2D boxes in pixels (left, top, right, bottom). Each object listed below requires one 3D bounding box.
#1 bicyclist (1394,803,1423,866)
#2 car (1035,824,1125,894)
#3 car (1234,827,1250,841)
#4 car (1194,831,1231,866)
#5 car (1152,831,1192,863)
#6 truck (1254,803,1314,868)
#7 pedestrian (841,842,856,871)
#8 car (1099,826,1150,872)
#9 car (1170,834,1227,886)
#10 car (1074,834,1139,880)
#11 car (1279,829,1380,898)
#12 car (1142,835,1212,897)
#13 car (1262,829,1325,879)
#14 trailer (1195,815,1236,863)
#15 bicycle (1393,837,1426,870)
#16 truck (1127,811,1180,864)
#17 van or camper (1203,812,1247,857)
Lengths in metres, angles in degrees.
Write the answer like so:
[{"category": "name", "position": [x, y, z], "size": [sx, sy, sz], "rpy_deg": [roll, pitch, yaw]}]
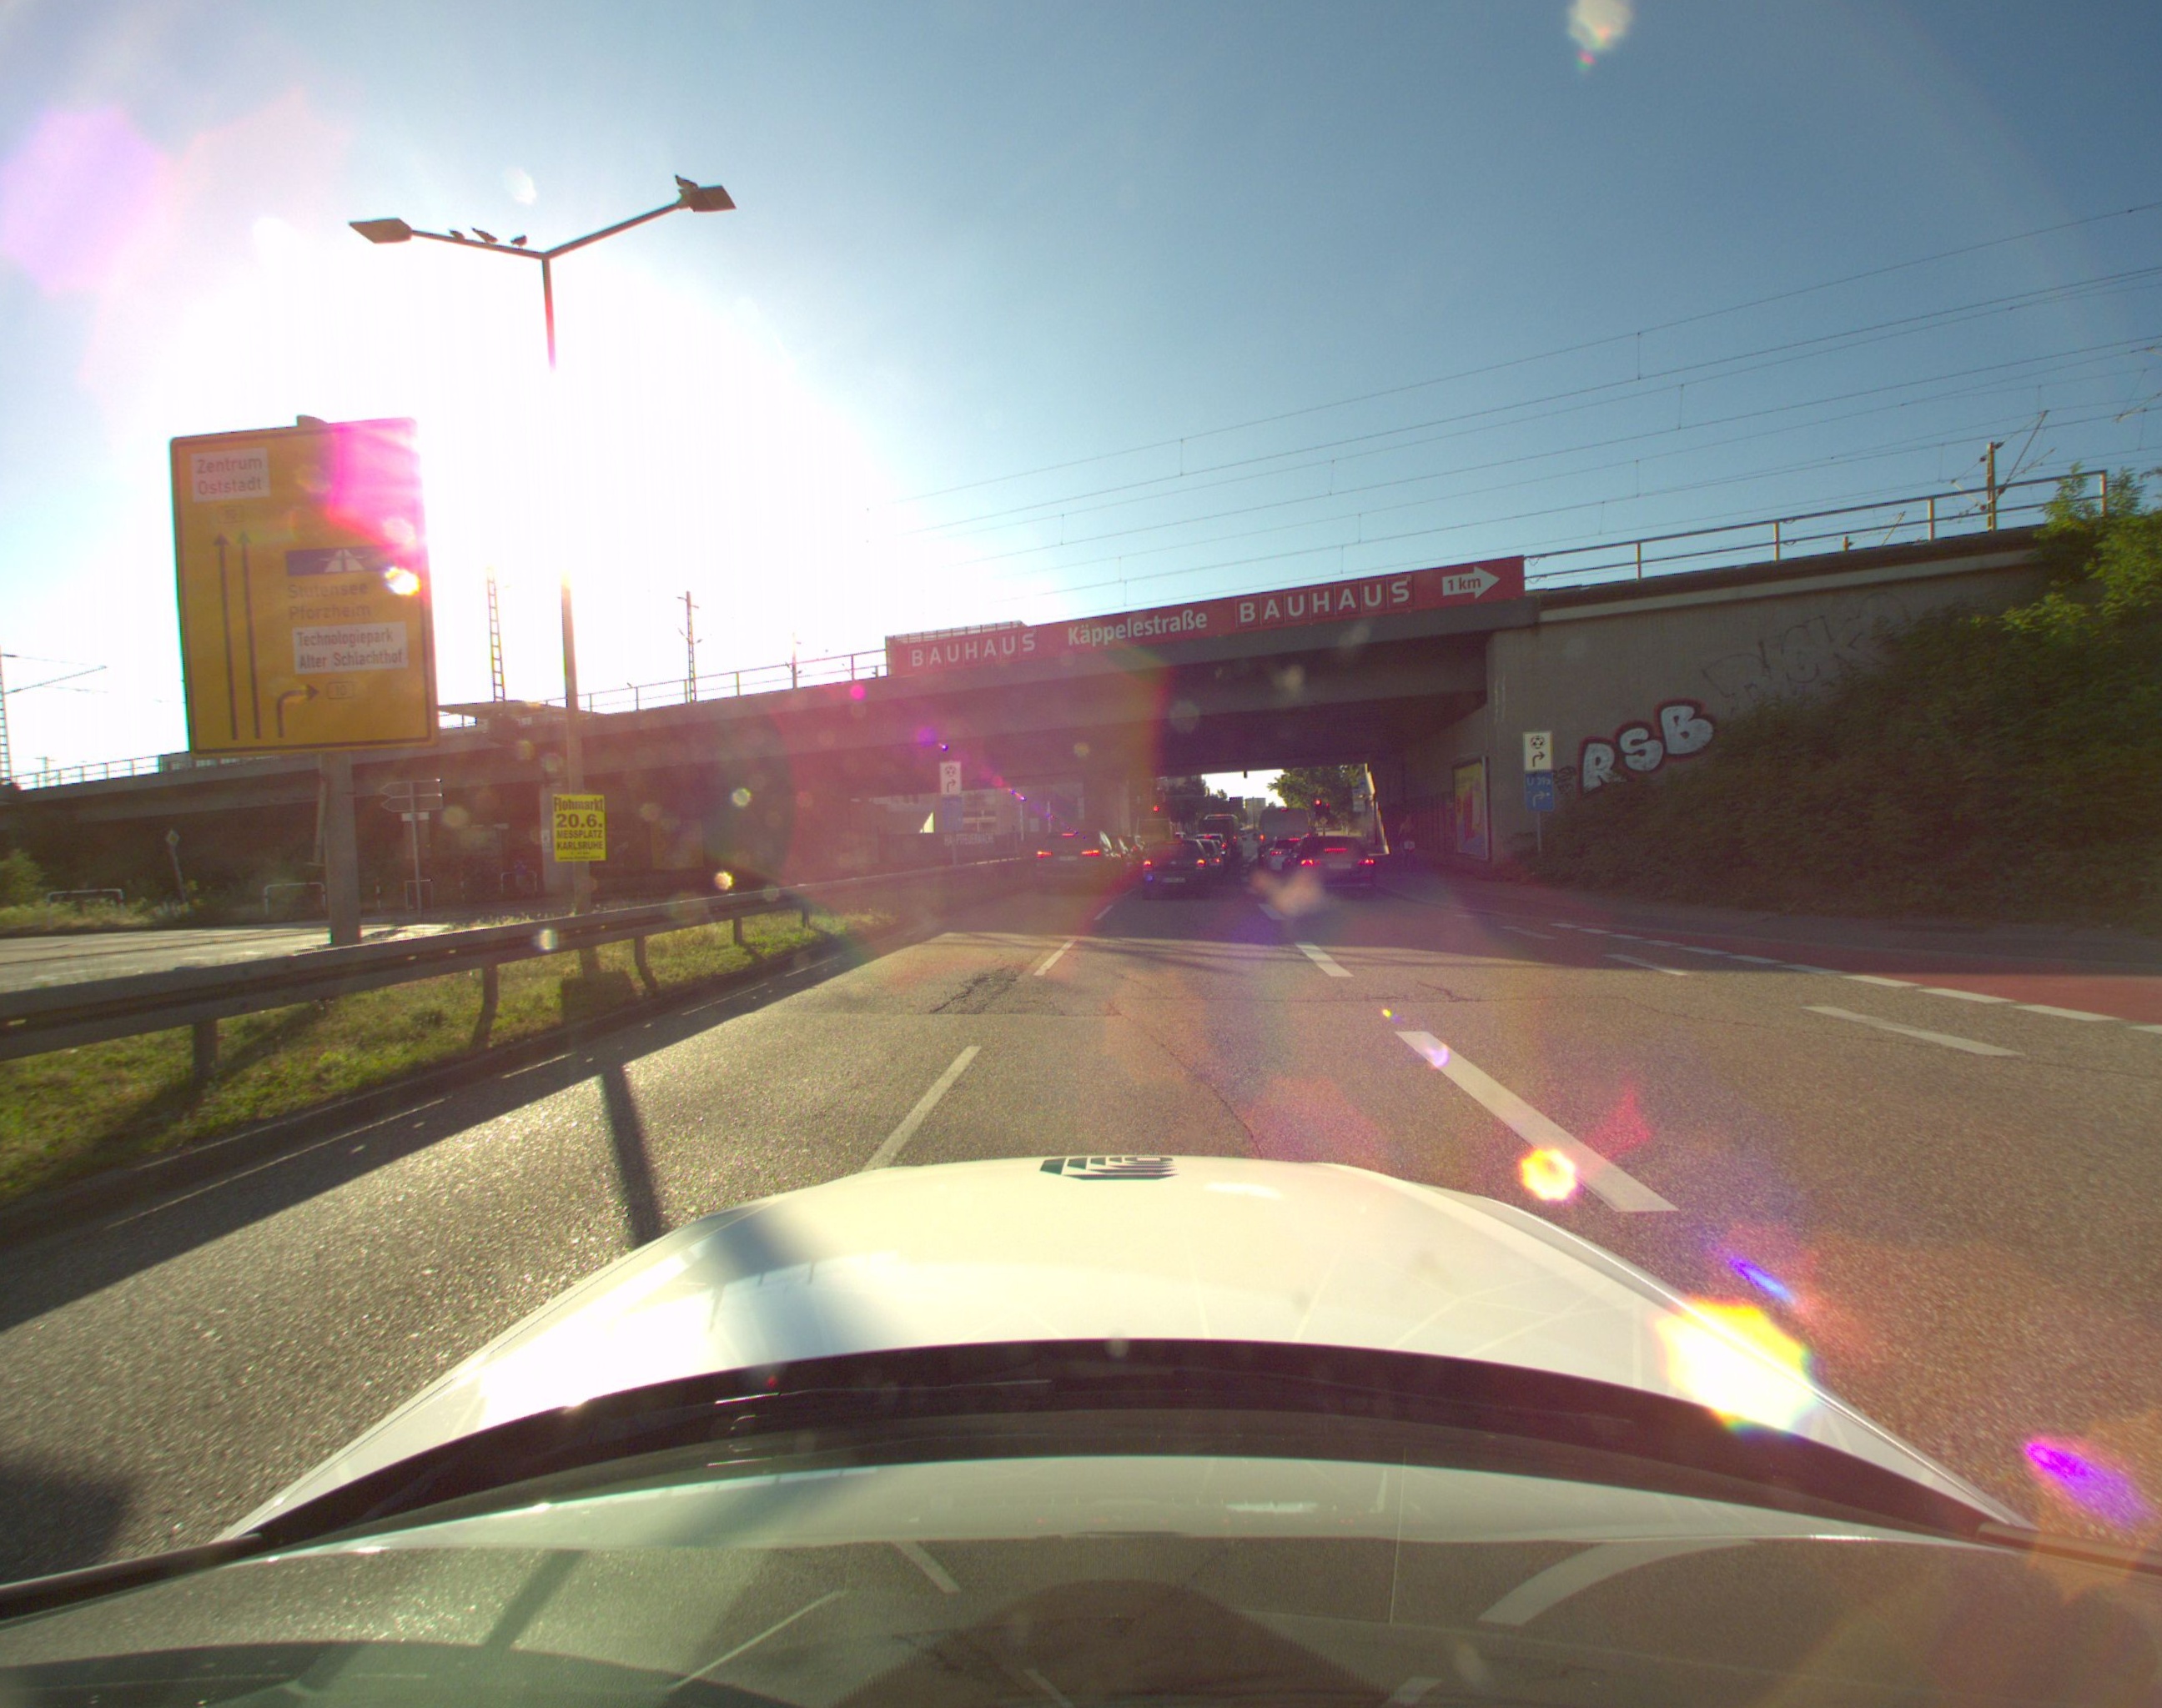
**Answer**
[{"category": "bicyclist", "position": [10.239, -0.609, 25.463], "size": [0.677, 1.907, 0.836], "rpy_deg": [-2, 0, 14]}, {"category": "car", "position": [0.084, 0.110, 23.334], "size": [1.818, 1.738, 4.473], "rpy_deg": [-2, 0, 9]}, {"category": "car", "position": [19.892, -2.442, 100.787], "size": [1.788, 1.604, 4.014], "rpy_deg": [-2, 0, 12]}, {"category": "car", "position": [6.331, -0.272, 38.894], "size": [1.571, 1.532, 3.844], "rpy_deg": [-1, 0, 11]}, {"category": "car", "position": [5.882, -0.437, 52.315], "size": [1.979, 1.901, 4.015], "rpy_deg": [-2, 0, 13]}, {"category": "truck", "position": [8.737, -0.790, 35.428], "size": [2.098, 2.519, 4.414], "rpy_deg": [-3, 0, 10]}, {"category": "pedestrian", "position": [-15.409, 0.170, 54.025], "size": [0.689, 1.903, 0.667], "rpy_deg": [-2, 0, 13]}, {"category": "car", "position": [1.967, -0.212, 35.455], "size": [1.832, 1.719, 4.007], "rpy_deg": [-5, 0, 6]}, {"category": "car", "position": [3.762, 0.142, 25.710], "size": [1.537, 1.423, 3.427], "rpy_deg": [-5, 1, 10]}, {"category": "car", "position": [0.988, 0.077, 29.787], "size": [1.831, 1.440, 3.684], "rpy_deg": [-5, 0, 8]}, {"category": "car", "position": [6.007, 0.139, 20.146], "size": [1.730, 1.454, 4.618], "rpy_deg": [-1, 2, 9]}, {"category": "car", "position": [2.471, 0.276, 20.773], "size": [1.573, 1.408, 3.840], "rpy_deg": [-1, 0, 7]}, {"category": "car", "position": [7.143, -0.011, 27.633], "size": [1.761, 1.495, 3.844], "rpy_deg": [-3, 0, 11]}, {"category": "trailer", "position": [7.418, -0.807, 44.635], "size": [1.851, 2.465, 3.846], "rpy_deg": [-3, 0, 13]}, {"category": "bicycle", "position": [10.270, -0.026, 25.566], "size": [0.574, 0.963, 2.898], "rpy_deg": [-2, 0, 15]}, {"category": "truck", "position": [3.918, -0.830, 43.110], "size": [2.014, 2.556, 5.556], "rpy_deg": [-2, 0, 12]}, {"category": "van or camper", "position": [8.899, -1.171, 49.948], "size": [1.978, 2.570, 5.943], "rpy_deg": [-2, 0, 16]}]
